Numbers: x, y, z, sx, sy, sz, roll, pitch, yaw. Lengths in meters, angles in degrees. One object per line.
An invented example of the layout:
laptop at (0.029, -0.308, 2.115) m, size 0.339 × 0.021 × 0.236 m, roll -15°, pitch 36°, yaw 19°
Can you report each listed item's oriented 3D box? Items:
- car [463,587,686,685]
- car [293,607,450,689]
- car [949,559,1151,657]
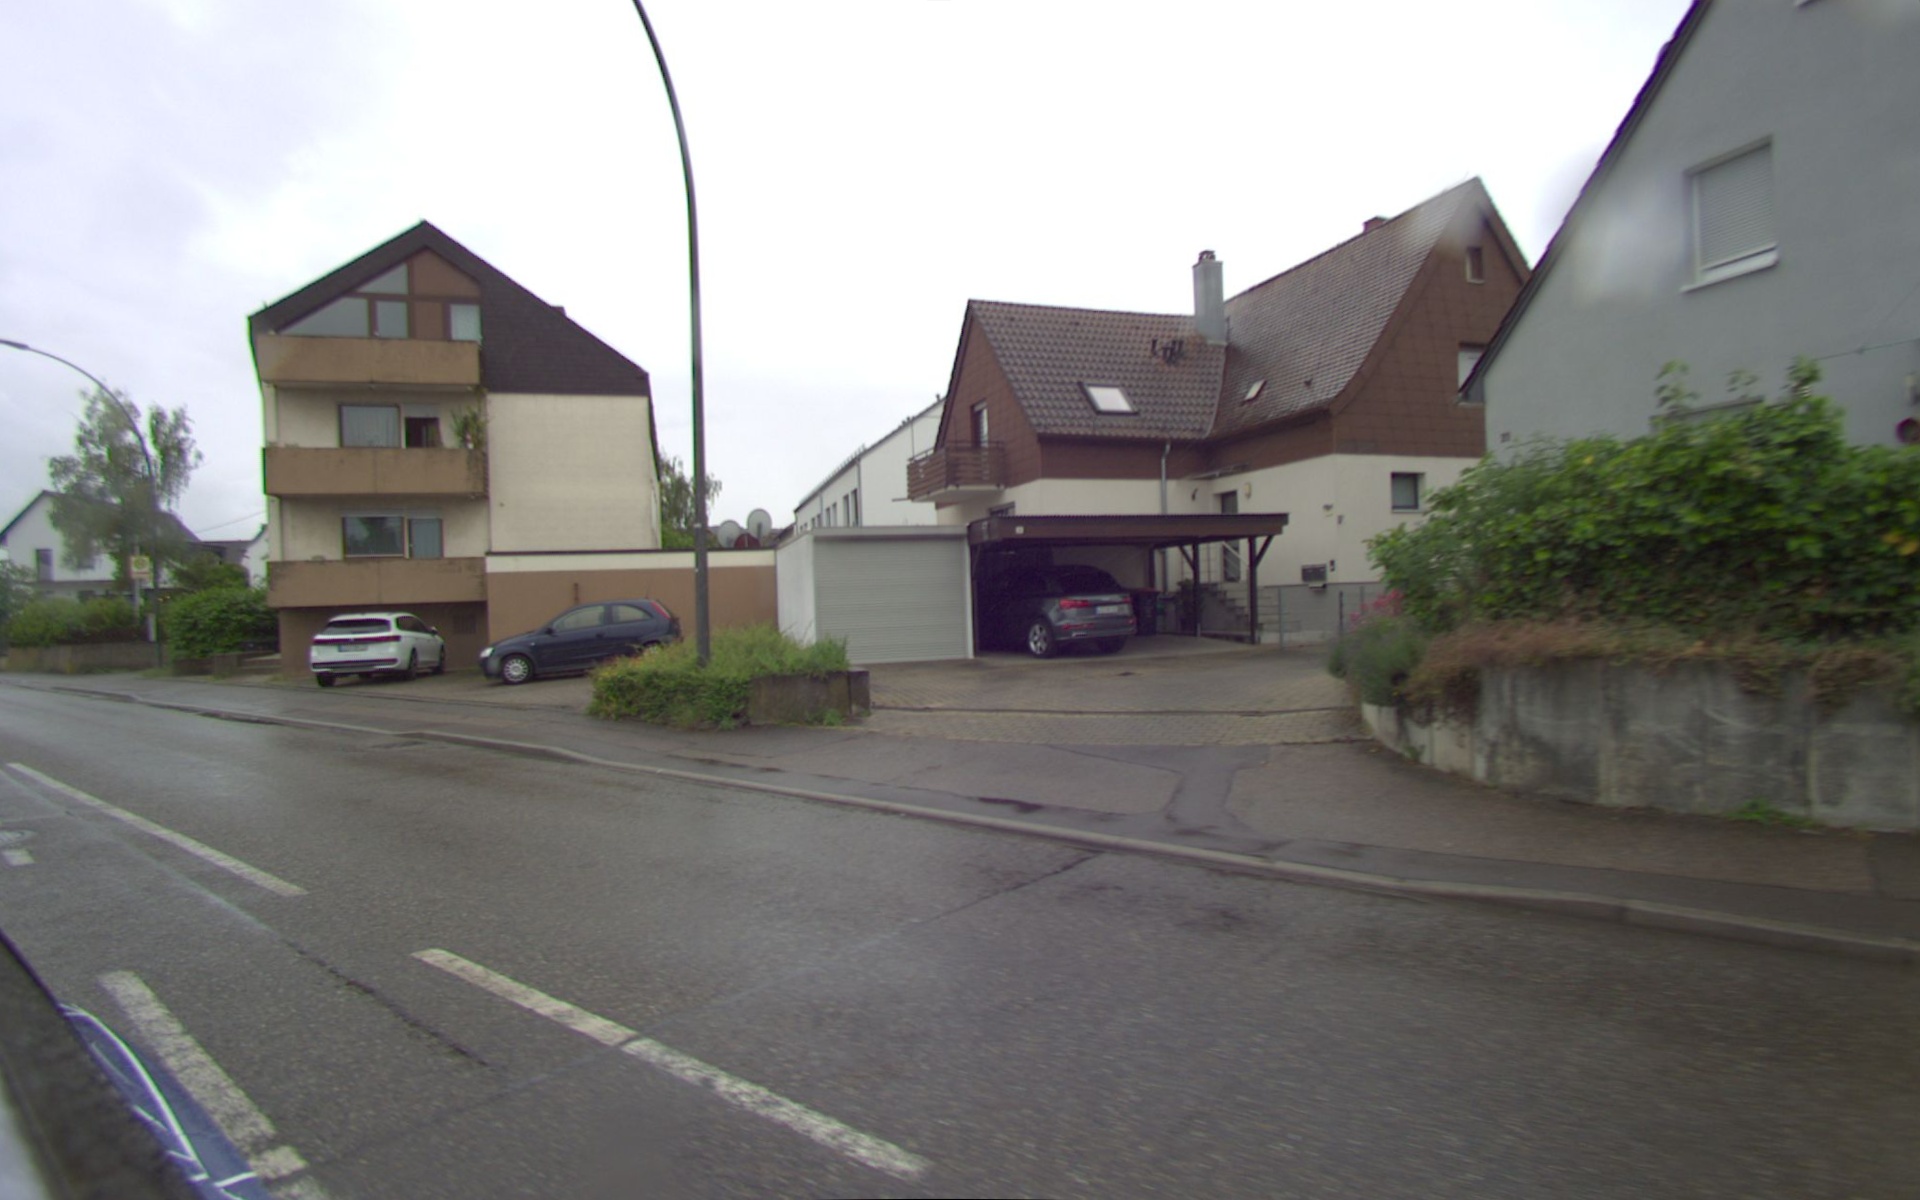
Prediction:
car at (-7.306, 0.638, 19.545) m, size 3.712 × 1.519 × 1.706 m, roll -4°, pitch 1°, yaw -12°
car at (-12.865, 0.989, 22.470) m, size 1.875 × 1.488 × 4.896 m, roll -3°, pitch 0°, yaw -17°
car at (1.584, 0.073, 19.353) m, size 1.965 × 1.673 × 4.013 m, roll 0°, pitch 2°, yaw -28°
